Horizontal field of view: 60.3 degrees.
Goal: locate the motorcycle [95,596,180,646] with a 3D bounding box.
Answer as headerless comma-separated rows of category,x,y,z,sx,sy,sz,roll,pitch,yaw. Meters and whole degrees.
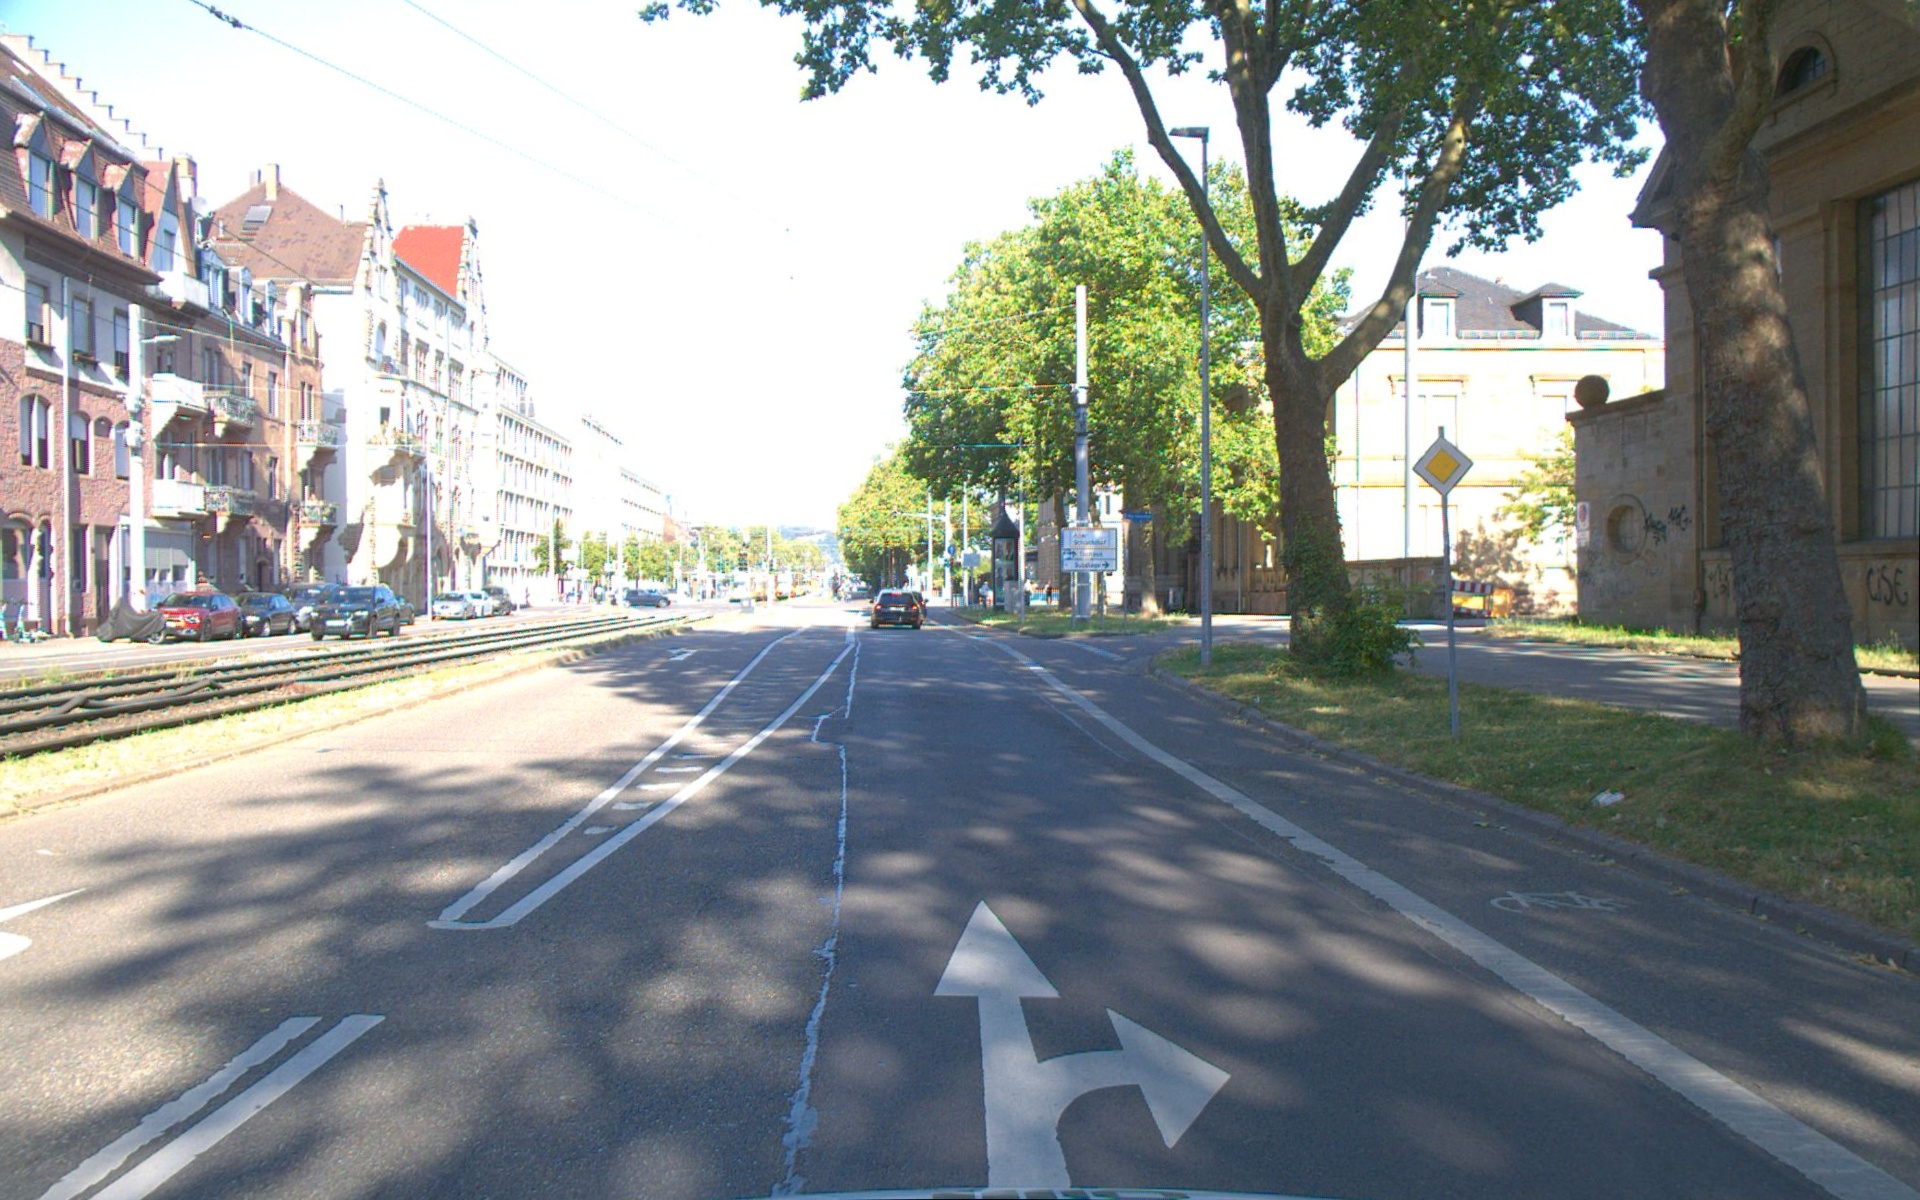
motorcycle,-23.819,0.596,47.933,2.037,1.350,0.836,2,0,-20

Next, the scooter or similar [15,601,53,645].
scooter or similar,-26.247,0.643,46.886,0.383,1.226,1.199,2,0,-3

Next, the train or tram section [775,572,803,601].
train or tram section,-21.086,-1.634,204.364,2.769,3.511,9.059,-1,0,-3

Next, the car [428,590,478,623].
car,-25.926,0.322,84.730,1.761,1.536,3.993,3,0,-8

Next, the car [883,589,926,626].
car,-2.465,0.314,72.695,1.758,1.537,3.998,-1,0,-3

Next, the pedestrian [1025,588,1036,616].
pedestrian,4.527,0.133,106.100,0.575,1.758,0.650,1,0,9

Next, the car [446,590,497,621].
car,-26.590,0.275,90.177,1.759,1.536,4.181,3,0,-5

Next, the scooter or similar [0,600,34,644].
scooter or similar,-26.803,0.619,46.920,0.383,1.226,1.199,2,0,-3

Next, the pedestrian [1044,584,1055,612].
pedestrian,5.712,-0.106,105.928,0.575,1.758,0.651,1,0,11

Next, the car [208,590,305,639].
car,-23.879,0.472,56.271,1.759,1.536,3.997,3,0,-4

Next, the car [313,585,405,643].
car,-18.209,0.386,50.262,1.603,1.629,4.154,-2,1,-6

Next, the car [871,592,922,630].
car,-2.457,0.396,62.978,1.797,1.415,4.155,0,0,-4

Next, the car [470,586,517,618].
car,-26.984,0.114,95.729,1.759,1.749,4.181,3,0,-5

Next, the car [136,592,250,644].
car,-23.785,0.526,51.434,1.759,1.485,4.262,3,0,-5

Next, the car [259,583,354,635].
car,-24.158,0.308,61.304,1.758,1.784,4.454,3,0,-1

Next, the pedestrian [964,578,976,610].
pedestrian,0.557,-0.324,92.450,0.575,1.758,0.650,1,0,9
